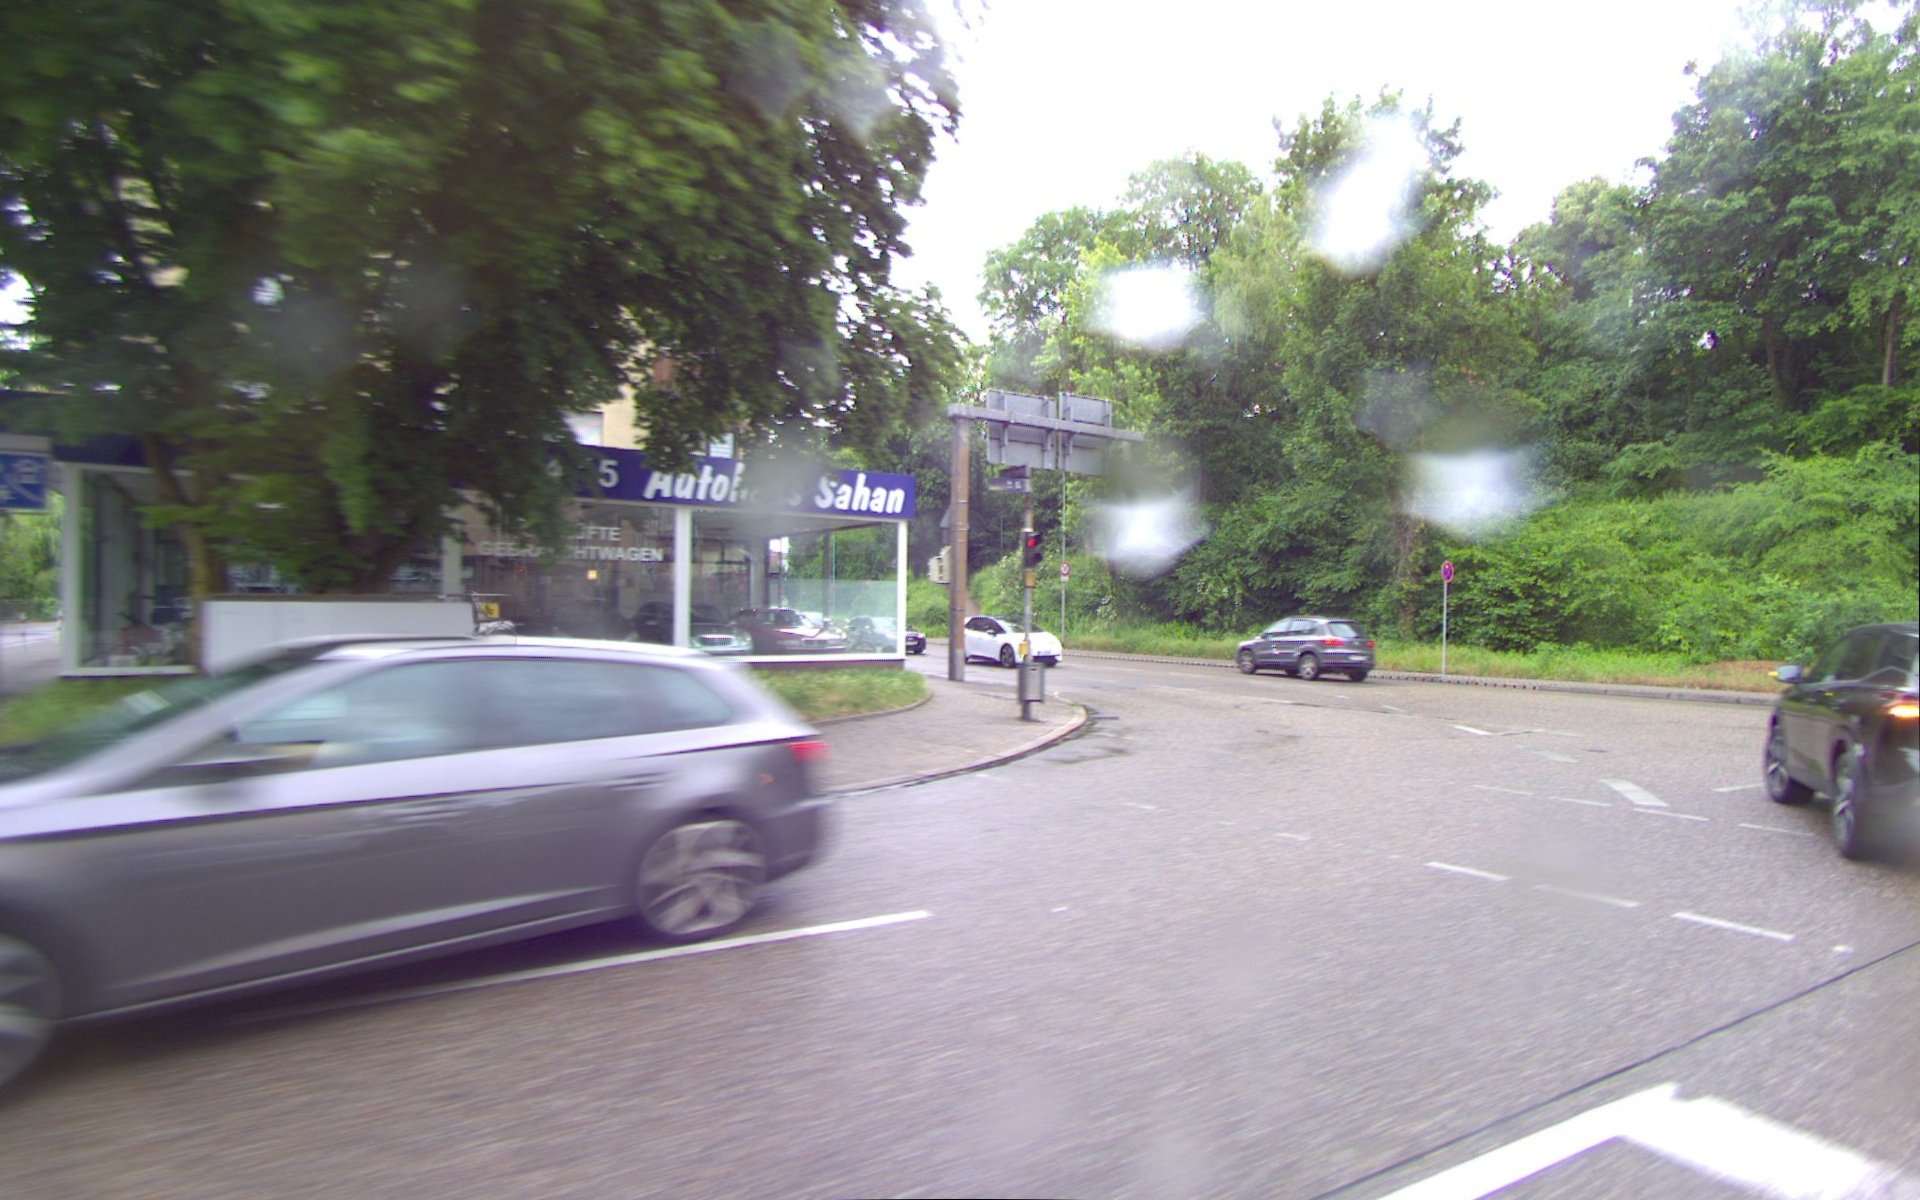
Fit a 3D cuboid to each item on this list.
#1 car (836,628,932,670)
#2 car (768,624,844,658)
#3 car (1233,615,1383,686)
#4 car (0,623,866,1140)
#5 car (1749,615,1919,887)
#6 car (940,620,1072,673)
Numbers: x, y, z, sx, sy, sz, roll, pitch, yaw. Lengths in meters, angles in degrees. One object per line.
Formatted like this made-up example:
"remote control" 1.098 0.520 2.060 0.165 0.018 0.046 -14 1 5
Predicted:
"car" -2.982 1.833 38.635 1.741 1.386 4.591 -1 0 -32
"car" -7.012 1.816 45.347 1.741 1.386 4.591 -1 0 -32
"car" 9.347 1.306 27.313 1.788 1.624 3.983 1 1 -18
"car" -2.561 0.852 4.485 1.790 1.469 4.184 0 -1 42
"car" 7.290 0.969 7.406 1.785 1.624 3.992 0 -2 30
"car" 1.362 1.405 31.797 1.914 1.459 4.591 -1 0 -32
